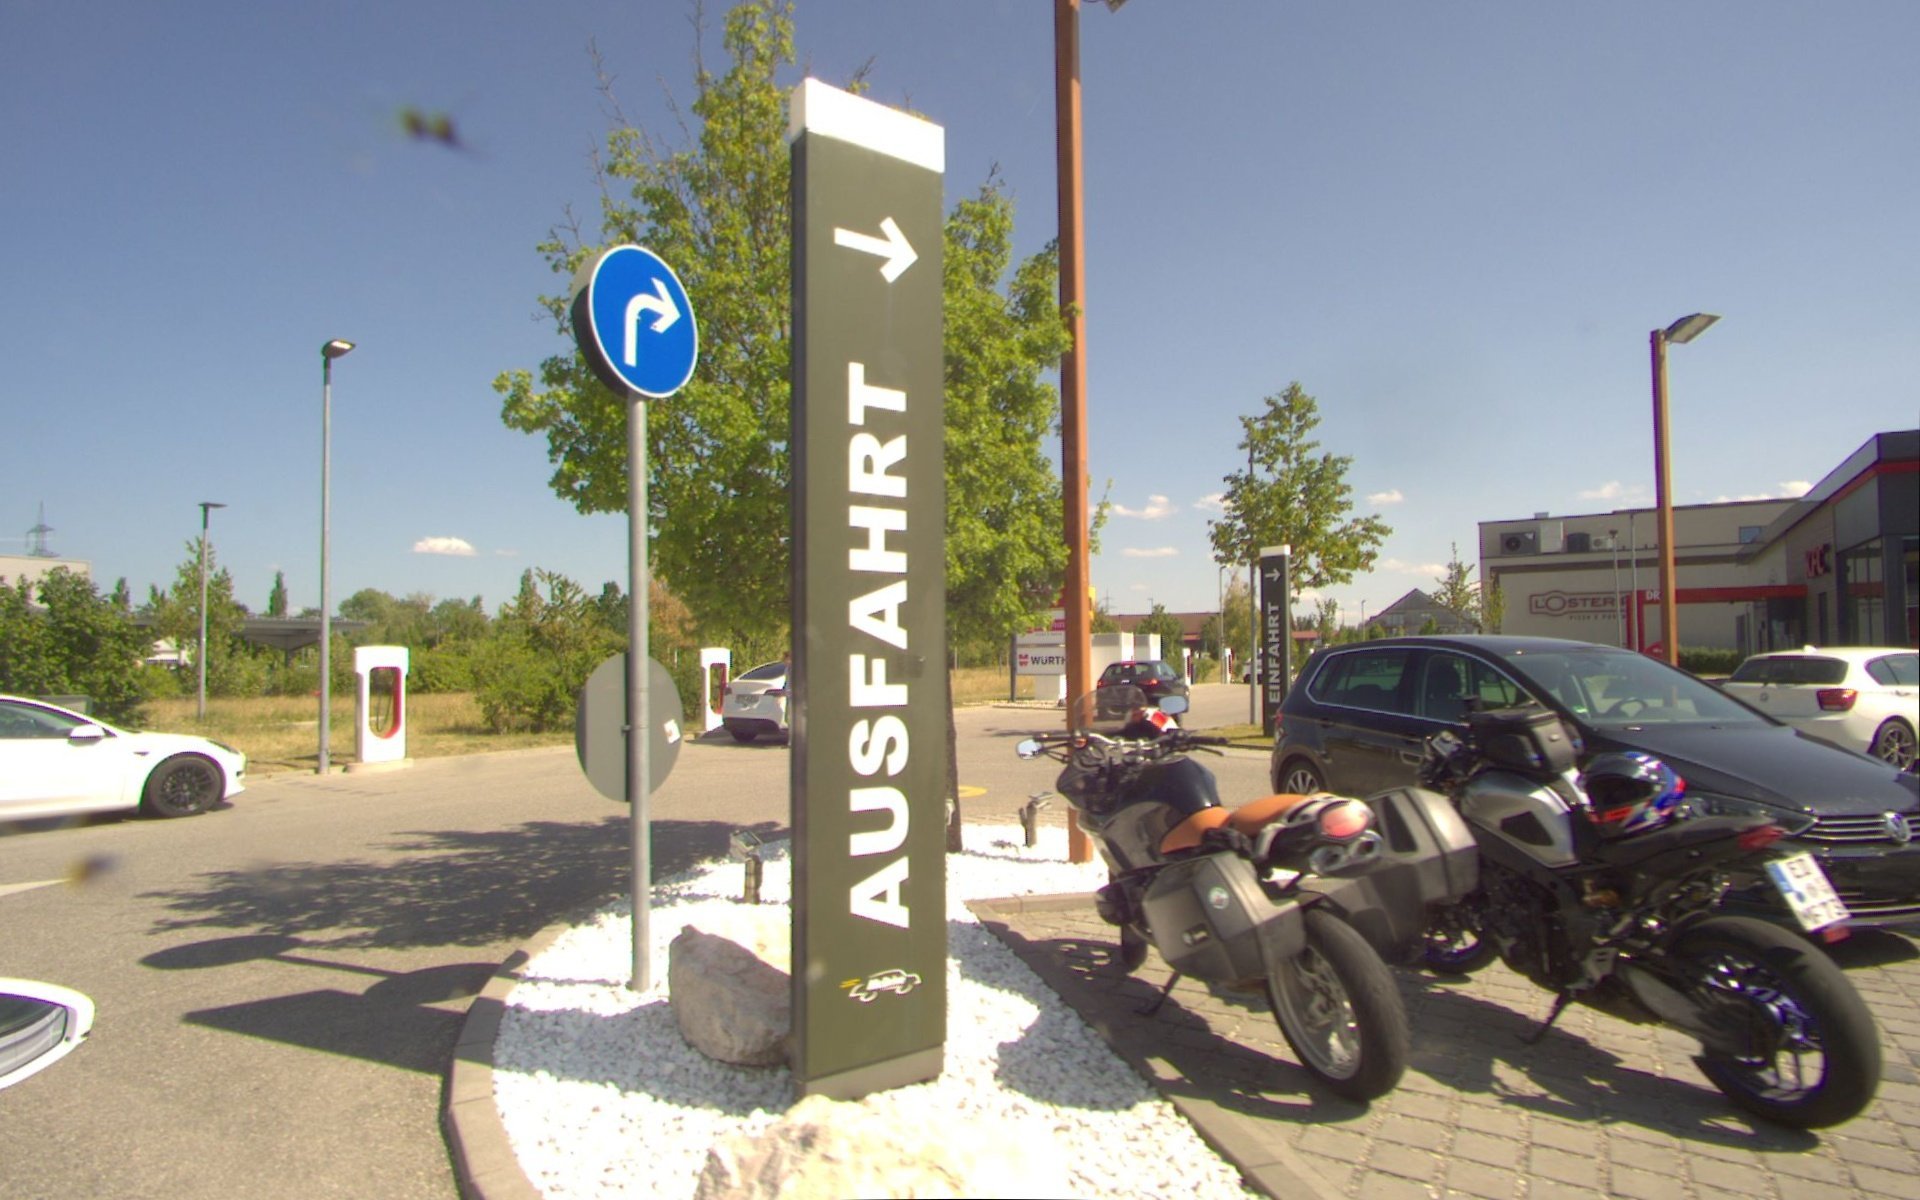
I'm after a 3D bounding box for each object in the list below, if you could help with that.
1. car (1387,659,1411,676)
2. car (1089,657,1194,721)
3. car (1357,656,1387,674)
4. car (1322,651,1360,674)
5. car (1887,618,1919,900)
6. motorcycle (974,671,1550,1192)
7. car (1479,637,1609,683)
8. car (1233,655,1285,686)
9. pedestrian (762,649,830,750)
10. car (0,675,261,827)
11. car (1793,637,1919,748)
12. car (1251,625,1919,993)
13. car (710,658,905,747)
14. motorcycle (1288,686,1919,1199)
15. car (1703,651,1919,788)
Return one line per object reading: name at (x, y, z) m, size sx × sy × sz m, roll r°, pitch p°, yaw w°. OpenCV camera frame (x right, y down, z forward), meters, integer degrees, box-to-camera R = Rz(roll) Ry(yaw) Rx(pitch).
car at (42.477, 6.517, 96.855) m, size 1.722 × 1.587 × 3.984 m, roll -2°, pitch -3°, yaw 29°
car at (4.691, 2.183, 25.373) m, size 1.670 × 1.459 × 4.204 m, roll -2°, pitch -3°, yaw 24°
car at (33.733, 5.317, 81.928) m, size 1.722 × 1.404 × 3.984 m, roll -2°, pitch -3°, yaw 29°
car at (27.554, 4.478, 72.370) m, size 1.922 × 1.587 × 3.984 m, roll -2°, pitch -3°, yaw 29°
car at (6.890, 0.847, 4.245) m, size 1.716 × 1.660 × 4.066 m, roll 0°, pitch -3°, yaw -12°
motorcycle at (0.896, 0.954, 3.845) m, size 1.052 × 1.266 × 2.249 m, roll 2°, pitch -2°, yaw -16°
car at (22.849, 2.359, 39.367) m, size 4.318 × 1.706 × 1.636 m, roll -2°, pitch -3°, yaw 29°
car at (16.103, 3.751, 53.860) m, size 1.921 × 1.587 × 3.986 m, roll -2°, pitch -3°, yaw 28°
pedestrian at (-3.047, 1.820, 18.647) m, size 0.726 × 1.823 × 1.031 m, roll -1°, pitch -2°, yaw 32°
car at (-9.881, 1.493, 9.987) m, size 1.797 × 1.394 × 4.428 m, roll -2°, pitch -4°, yaw 32°
car at (14.719, 1.317, 14.331) m, size 1.725 × 1.595 × 4.086 m, roll 0°, pitch -3°, yaw -12°
car at (3.774, 0.982, 6.501) m, size 1.861 × 1.556 × 4.189 m, roll 0°, pitch -2°, yaw -12°
car at (-3.039, 2.031, 20.971) m, size 1.840 × 1.620 × 4.475 m, roll -2°, pitch -3°, yaw 26°
motorcycle at (2.265, 0.998, 3.785) m, size 0.807 × 1.247 × 2.137 m, roll 1°, pitch -2°, yaw -20°
car at (11.480, 1.350, 12.190) m, size 4.113 × 1.443 × 1.842 m, roll 0°, pitch -3°, yaw -18°
